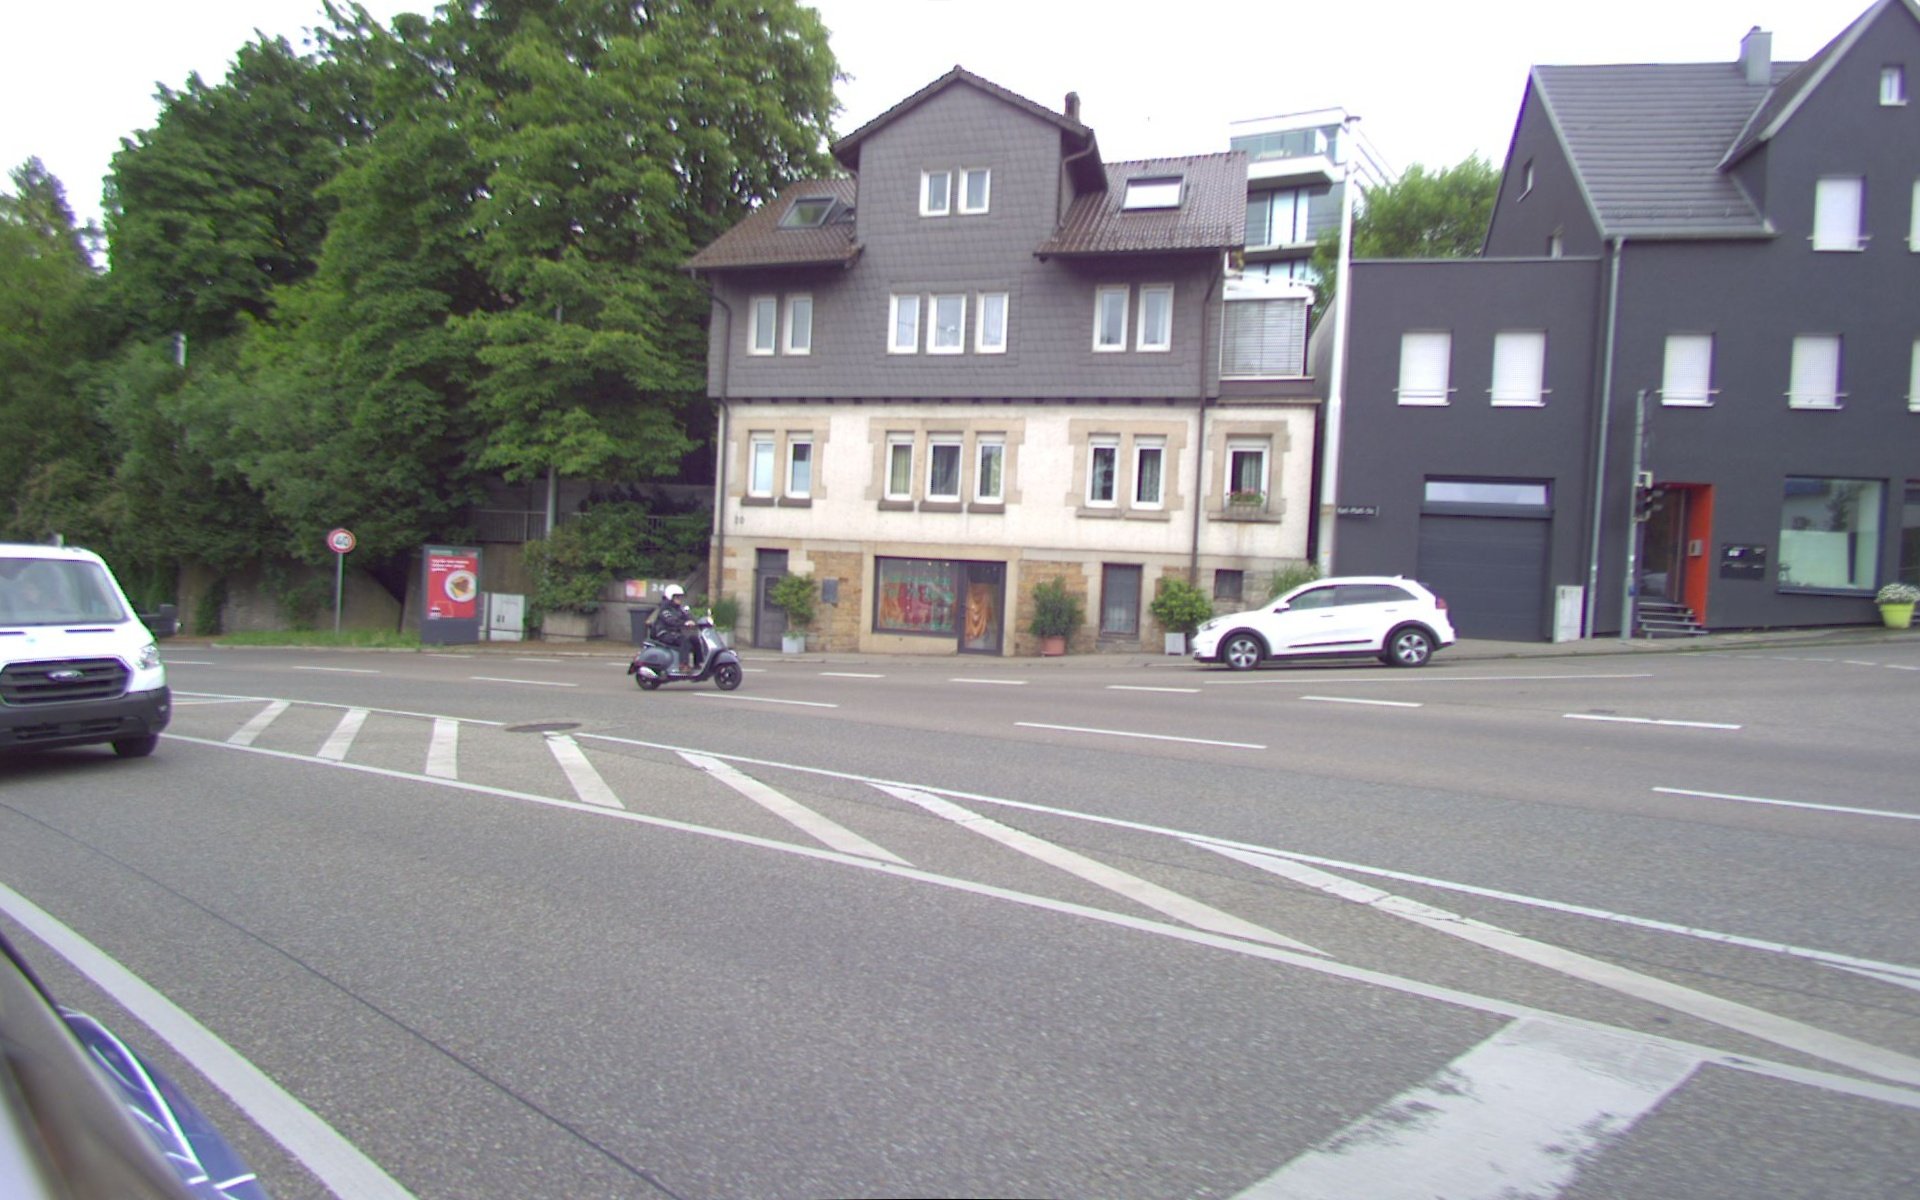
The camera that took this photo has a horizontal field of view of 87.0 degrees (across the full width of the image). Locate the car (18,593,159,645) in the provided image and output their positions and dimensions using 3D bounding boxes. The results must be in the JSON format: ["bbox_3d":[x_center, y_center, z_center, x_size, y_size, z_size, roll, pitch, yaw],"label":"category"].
[{"bbox_3d":[-27.819,0.609,32.298,4.273,1.540,1.705,-1,1,23],"label":"car"}]

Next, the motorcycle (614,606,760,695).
[{"bbox_3d":[-4.243,0.770,15.782,2.025,1.308,0.827,-1,2,14],"label":"motorcycle"}]

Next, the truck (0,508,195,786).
[{"bbox_3d":[-10.649,0.376,10.401,6.304,2.338,2.062,0,1,29],"label":"truck"}]

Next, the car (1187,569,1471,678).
[{"bbox_3d":[6.214,0.412,17.609,4.346,1.579,1.881,-3,-1,14],"label":"car"}]

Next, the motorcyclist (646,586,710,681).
[{"bbox_3d":[-4.373,0.508,15.725,0.716,1.429,0.681,-1,0,14],"label":"motorcyclist"}]

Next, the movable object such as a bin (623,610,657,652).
[{"bbox_3d":[-8.266,0.790,26.142,0.644,1.027,0.534,2,1,28],"label":"movable object such as a bin"}]
